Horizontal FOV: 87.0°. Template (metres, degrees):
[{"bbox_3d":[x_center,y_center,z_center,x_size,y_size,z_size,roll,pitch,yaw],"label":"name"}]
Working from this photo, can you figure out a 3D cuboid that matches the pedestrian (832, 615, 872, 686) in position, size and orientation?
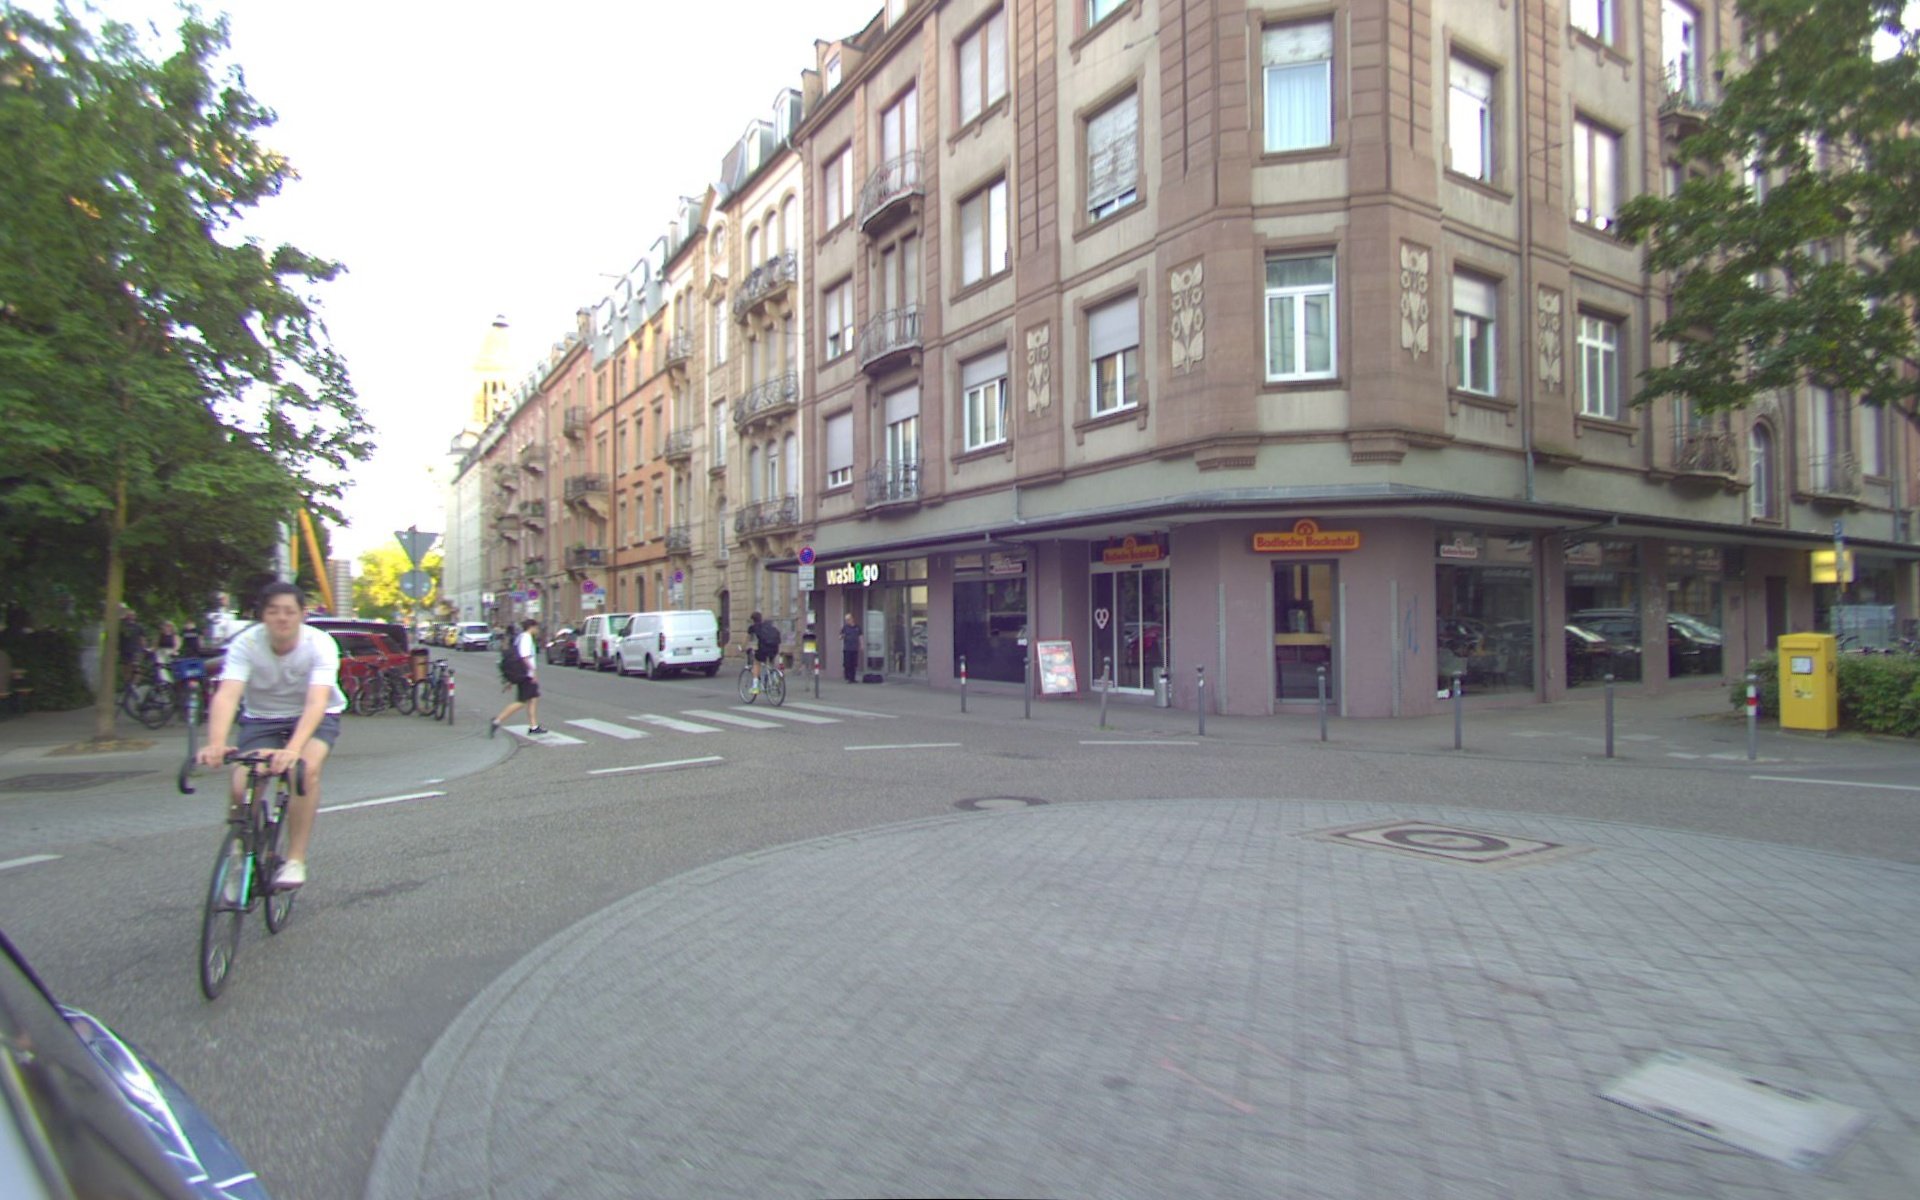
[{"bbox_3d":[-2.657,1.217,24.769,0.699,1.691,0.738,-1,-1,-28],"label":"pedestrian"}]

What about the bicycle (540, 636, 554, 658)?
[{"bbox_3d":[-23.230,2.616,56.950,0.406,1.168,1.843,-1,0,-32],"label":"bicycle"}]

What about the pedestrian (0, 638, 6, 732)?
[{"bbox_3d":[-14.884,1.302,15.314,0.514,1.420,0.630,-2,-1,45],"label":"pedestrian"}]

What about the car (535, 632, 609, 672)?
[{"bbox_3d":[-15.543,2.022,40.435,1.812,1.482,4.183,0,-1,-35],"label":"car"}]

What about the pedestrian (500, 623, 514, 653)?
[{"bbox_3d":[-28.281,2.360,63.194,0.672,1.824,0.964,-1,0,-30],"label":"pedestrian"}]

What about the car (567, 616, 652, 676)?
[{"bbox_3d":[-12.437,1.583,35.705,1.811,1.936,4.859,0,-1,-32],"label":"car"}]

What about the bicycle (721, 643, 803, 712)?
[{"bbox_3d":[-3.825,1.459,19.430,0.827,1.180,1.941,-1,0,-35],"label":"bicycle"}]

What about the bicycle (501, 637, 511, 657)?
[{"bbox_3d":[-26.945,2.783,60.075,0.459,1.164,2.007,-1,0,-26],"label":"bicycle"}]

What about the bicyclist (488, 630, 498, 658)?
[{"bbox_3d":[-27.254,2.547,59.042,0.459,1.602,0.489,-1,0,-30],"label":"bicyclist"}]

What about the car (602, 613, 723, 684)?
[{"bbox_3d":[-9.115,1.423,30.664,2.081,1.936,5.039,0,-1,-34],"label":"car"}]

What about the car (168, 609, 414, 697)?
[{"bbox_3d":[-17.651,1.442,27.119,1.918,2.088,5.402,0,-4,19],"label":"car"}]

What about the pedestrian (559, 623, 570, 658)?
[{"bbox_3d":[-21.036,2.155,53.823,0.457,1.803,0.644,-1,0,-29],"label":"pedestrian"}]

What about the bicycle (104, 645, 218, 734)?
[{"bbox_3d":[-12.253,1.358,15.513,1.710,1.298,0.594,-2,-2,21],"label":"bicycle"}]

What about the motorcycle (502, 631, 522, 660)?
[{"bbox_3d":[-23.019,2.346,52.017,0.675,1.415,2.020,-1,0,-30],"label":"motorcycle"}]

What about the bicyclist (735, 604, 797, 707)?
[{"bbox_3d":[-3.694,1.030,19.229,0.827,1.890,0.881,-1,0,-35],"label":"bicyclist"}]

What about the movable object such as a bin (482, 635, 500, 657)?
[{"bbox_3d":[-28.918,2.839,62.394,0.875,1.260,0.778,-1,0,-32],"label":"movable object such as a bin"}]

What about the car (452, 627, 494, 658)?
[{"bbox_3d":[-30.961,2.668,64.289,1.746,1.802,4.599,-1,-1,-34],"label":"car"}]

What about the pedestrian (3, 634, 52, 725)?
[{"bbox_3d":[-15.132,1.274,16.428,0.514,1.420,0.546,-2,-1,45],"label":"pedestrian"}]

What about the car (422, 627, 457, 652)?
[{"bbox_3d":[-41.803,3.178,81.234,1.901,1.897,4.918,0,-2,-34],"label":"car"}]

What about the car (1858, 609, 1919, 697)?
[{"bbox_3d":[19.575,0.967,18.371,1.967,1.590,4.509,-1,0,-34],"label":"car"}]

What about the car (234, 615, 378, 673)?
[{"bbox_3d":[-28.399,1.911,44.131,1.993,2.380,4.886,-2,-2,31],"label":"car"}]

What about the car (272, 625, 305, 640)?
[{"bbox_3d":[-108.792,5.244,164.015,1.666,2.276,4.162,1,-3,22],"label":"car"}]

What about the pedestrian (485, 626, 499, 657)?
[{"bbox_3d":[-28.582,2.519,61.786,0.590,1.827,0.721,-1,-1,-41],"label":"pedestrian"}]

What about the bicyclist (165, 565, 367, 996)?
[{"bbox_3d":[-3.045,0.723,4.509,0.520,1.716,0.792,-1,0,-19],"label":"bicyclist"}]

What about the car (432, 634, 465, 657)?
[{"bbox_3d":[-38.809,3.417,76.727,1.901,1.608,3.981,0,-2,-31],"label":"car"}]

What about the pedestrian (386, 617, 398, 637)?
[{"bbox_3d":[-79.497,3.759,141.675,1.422,2.761,1.014,-1,0,-34],"label":"pedestrian"}]

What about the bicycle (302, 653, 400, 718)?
[{"bbox_3d":[-11.463,1.588,19.085,0.365,1.170,1.530,-2,-3,43],"label":"bicycle"}]

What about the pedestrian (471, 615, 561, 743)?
[{"bbox_3d":[-6.606,1.140,15.045,0.868,1.783,0.935,-2,-1,44],"label":"pedestrian"}]

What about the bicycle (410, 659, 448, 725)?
[{"bbox_3d":[-9.480,1.612,18.054,0.359,1.071,1.556,-1,0,-36],"label":"bicycle"}]

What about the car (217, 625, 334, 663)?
[{"bbox_3d":[-36.955,2.417,54.795,5.102,1.971,1.904,3,-4,-33],"label":"car"}]

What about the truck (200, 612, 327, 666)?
[{"bbox_3d":[-44.293,2.414,64.604,6.390,3.100,2.532,-2,0,-30],"label":"truck"}]

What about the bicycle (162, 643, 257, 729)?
[{"bbox_3d":[-12.133,1.358,16.345,1.762,1.298,0.592,-2,0,31],"label":"bicycle"}]

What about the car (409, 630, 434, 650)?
[{"bbox_3d":[-49.827,3.685,93.601,1.702,1.660,3.927,-1,-1,-33],"label":"car"}]

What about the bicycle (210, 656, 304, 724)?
[{"bbox_3d":[-11.873,1.503,17.074,1.762,1.071,0.592,-1,-4,31],"label":"bicycle"}]

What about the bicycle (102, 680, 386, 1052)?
[{"bbox_3d":[-3.031,1.004,4.468,0.512,1.164,1.788,-1,0,-19],"label":"bicycle"}]

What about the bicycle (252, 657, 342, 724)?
[{"bbox_3d":[-11.552,1.548,17.614,1.762,1.071,0.592,-2,0,31],"label":"bicycle"}]

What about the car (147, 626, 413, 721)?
[{"bbox_3d":[-13.091,1.400,19.788,1.683,1.640,4.013,-2,-4,25],"label":"car"}]

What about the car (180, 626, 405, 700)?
[{"bbox_3d":[-16.091,1.528,24.660,1.921,1.635,4.190,-1,-4,24],"label":"car"}]

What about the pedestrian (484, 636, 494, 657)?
[{"bbox_3d":[-29.083,2.844,62.482,0.471,1.260,0.654,-1,0,-32],"label":"pedestrian"}]

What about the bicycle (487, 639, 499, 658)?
[{"bbox_3d":[-27.218,2.835,58.993,0.459,1.076,1.525,-1,0,-29],"label":"bicycle"}]

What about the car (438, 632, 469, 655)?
[{"bbox_3d":[-36.572,3.102,73.035,1.682,1.541,3.803,0,-2,-31],"label":"car"}]
